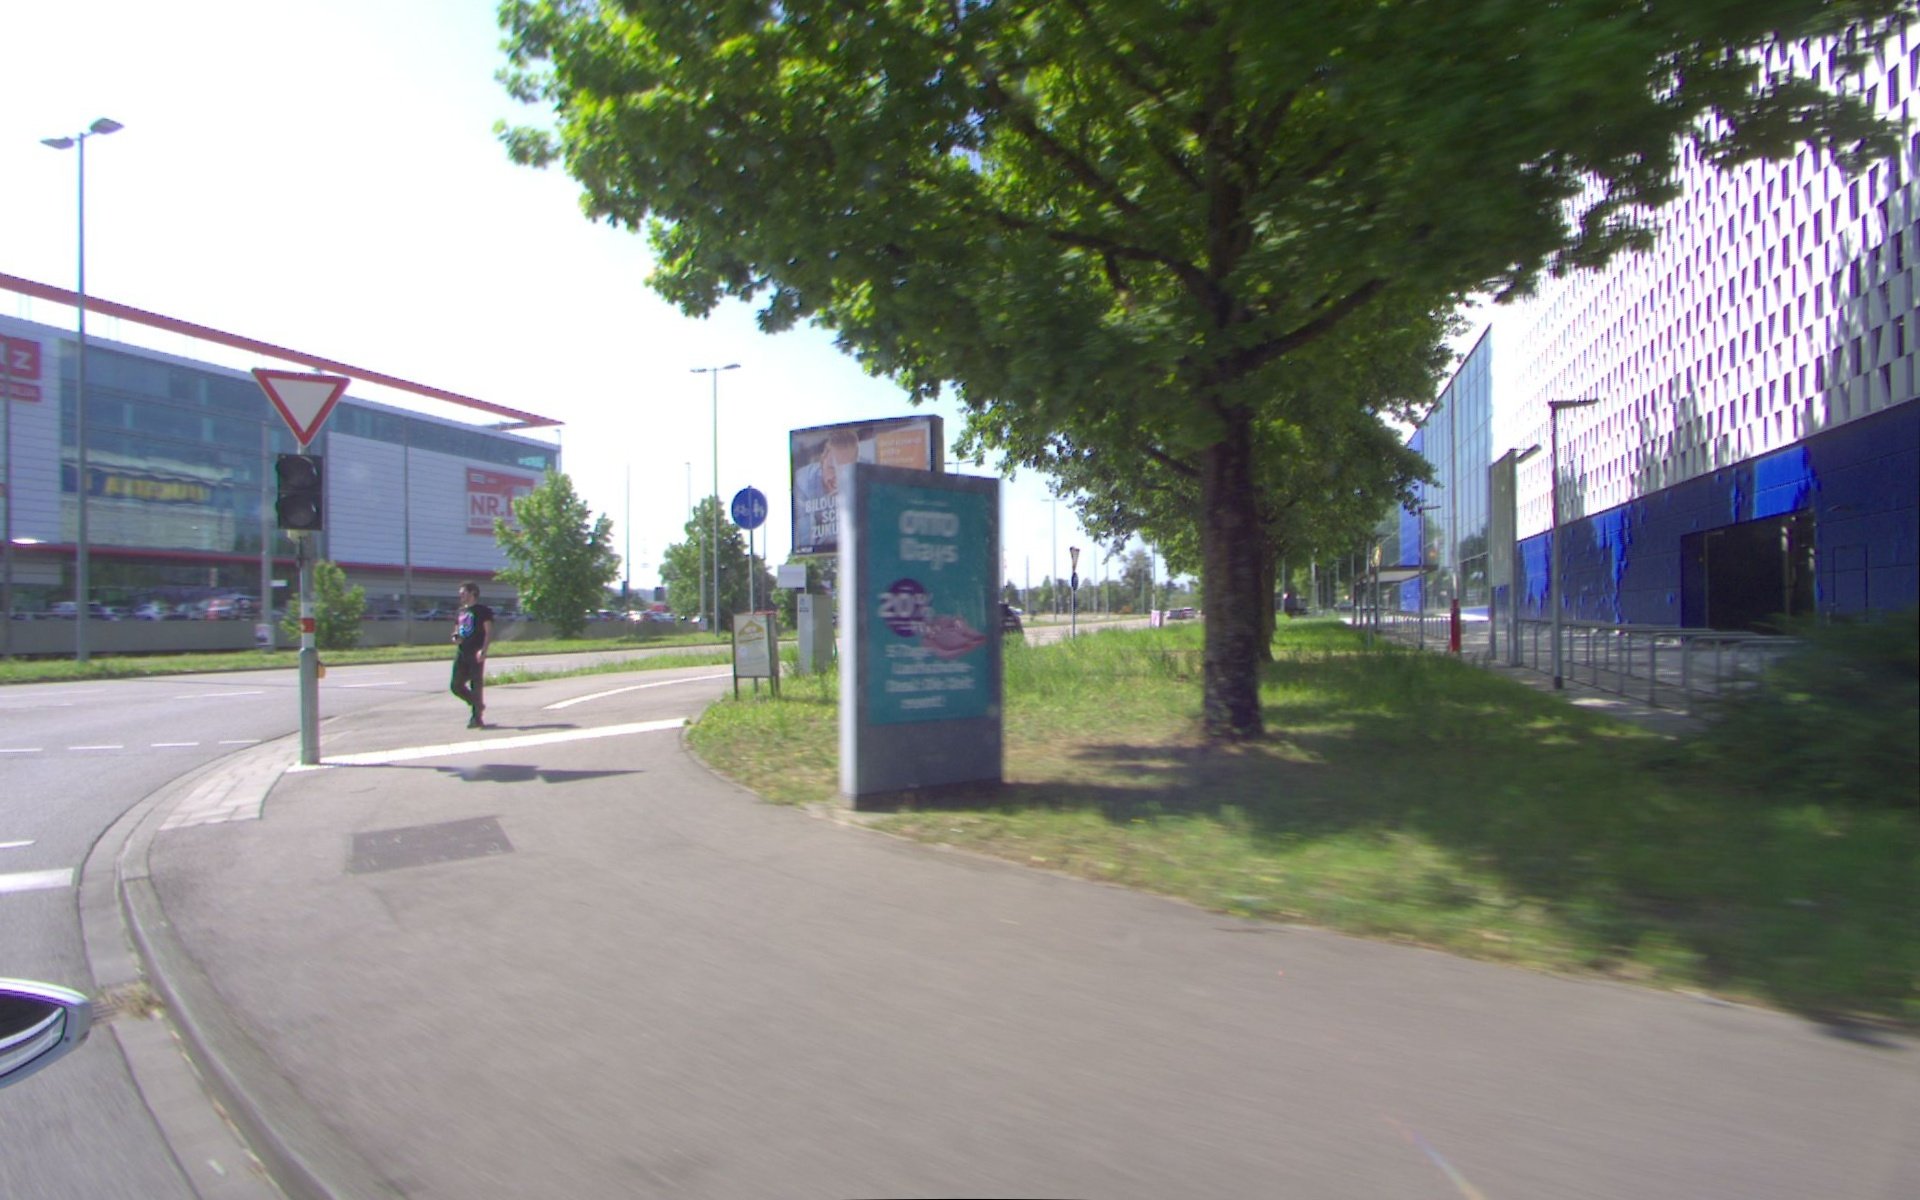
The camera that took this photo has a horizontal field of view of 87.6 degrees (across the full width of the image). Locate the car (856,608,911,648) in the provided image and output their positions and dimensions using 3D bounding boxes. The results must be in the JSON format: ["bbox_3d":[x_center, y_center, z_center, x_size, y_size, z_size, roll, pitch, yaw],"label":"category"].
[{"bbox_3d":[-3.111,1.113,40.031,1.758,1.508,3.924,0,-1,-11],"label":"car"}]

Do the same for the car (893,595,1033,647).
[{"bbox_3d":[0.084,0.649,30.427,3.865,1.508,1.785,-1,-1,28],"label":"car"}]

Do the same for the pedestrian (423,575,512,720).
[{"bbox_3d":[-6.226,0.594,12.684,0.790,1.793,0.629,0,0,8],"label":"pedestrian"}]

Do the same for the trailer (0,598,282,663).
[{"bbox_3d":[-36.269,1.462,43.730,1.966,2.500,11.891,1,-3,22],"label":"trailer"}]

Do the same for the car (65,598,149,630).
[{"bbox_3d":[-59.561,0.980,69.986,1.964,2.038,3.997,1,-3,17],"label":"car"}]

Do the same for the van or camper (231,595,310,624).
[{"bbox_3d":[-54.909,0.795,79.897,1.964,2.038,4.996,1,-3,18],"label":"van or camper"}]

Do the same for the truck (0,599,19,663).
[{"bbox_3d":[-38.776,1.083,37.382,1.965,2.454,4.889,1,-3,21],"label":"truck"}]
